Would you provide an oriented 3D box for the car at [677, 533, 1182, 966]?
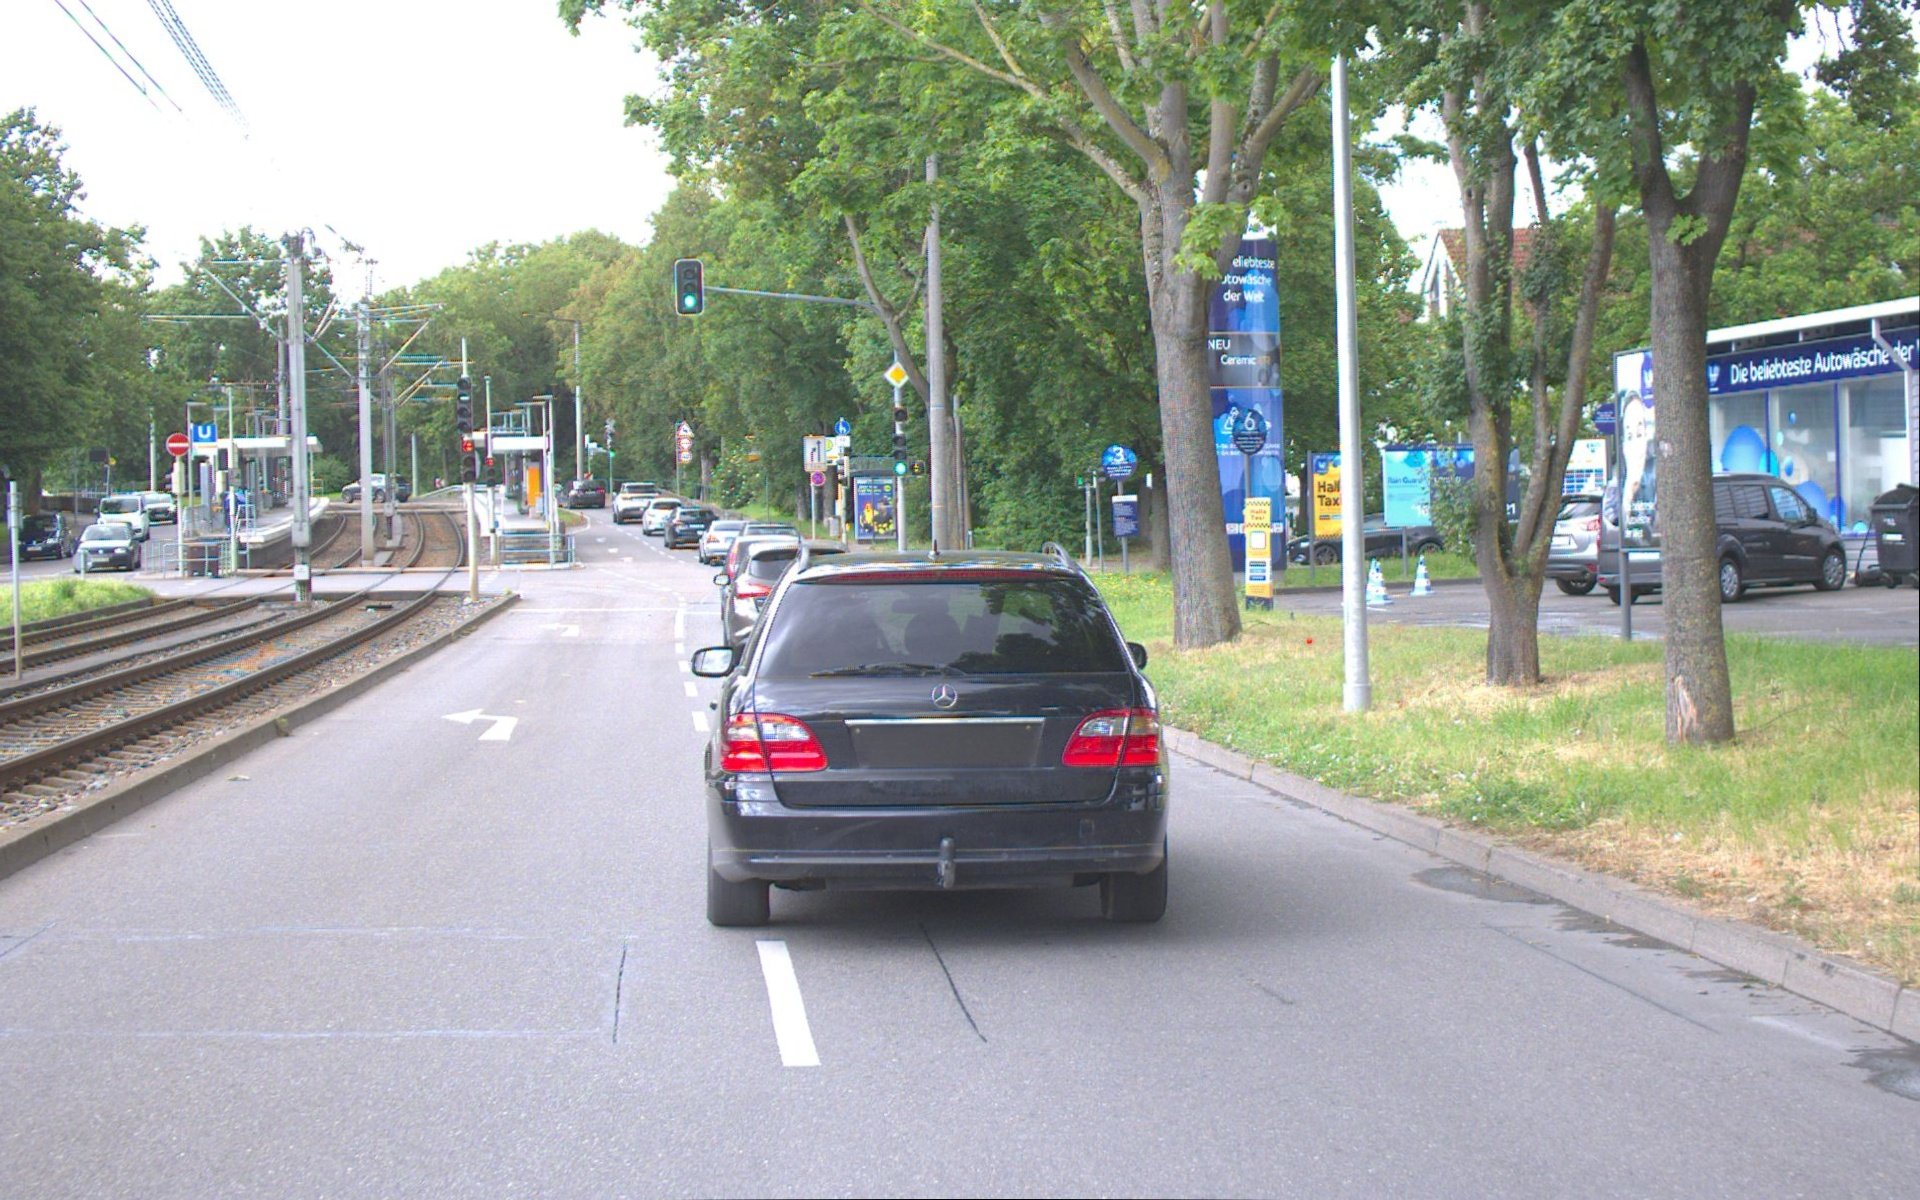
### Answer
[{"bbox_3d":[-0.248,0.505,14.284,1.781,1.520,4.001,1,1,-4],"label":"car"}]

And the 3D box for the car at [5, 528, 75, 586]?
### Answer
[{"bbox_3d":[-32.990,-1.564,123.406,1.993,2.007,4.108,-2,1,-9],"label":"car"}]

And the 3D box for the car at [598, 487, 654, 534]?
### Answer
[{"bbox_3d":[-14.909,-3.979,153.199,1.993,2.007,4.001,1,1,-13],"label":"car"}]

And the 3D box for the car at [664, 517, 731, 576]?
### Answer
[{"bbox_3d":[-9.135,-1.866,119.380,1.993,1.960,4.001,1,1,-9],"label":"car"}]

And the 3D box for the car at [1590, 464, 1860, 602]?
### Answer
[{"bbox_3d":[10.847,-0.971,48.579,1.750,1.815,4.374,-1,2,42],"label":"car"}]

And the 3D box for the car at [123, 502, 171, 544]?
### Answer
[{"bbox_3d":[-40.720,-3.863,172.202,1.993,2.007,4.108,-2,1,-9],"label":"car"}]

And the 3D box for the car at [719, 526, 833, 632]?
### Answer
[{"bbox_3d":[-3.027,-0.367,56.774,1.781,1.642,4.001,1,1,-3],"label":"car"}]

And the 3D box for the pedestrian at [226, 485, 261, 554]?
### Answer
[{"bbox_3d":[-22.778,-2.565,109.307,0.969,2.178,0.976,-1,2,-7],"label":"pedestrian"}]

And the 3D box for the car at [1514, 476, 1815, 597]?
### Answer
[{"bbox_3d":[10.810,-0.992,52.753,4.198,1.691,1.841,-3,2,-23],"label":"car"}]

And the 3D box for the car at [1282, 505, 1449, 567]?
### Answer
[{"bbox_3d":[10.597,-1.664,89.969,4.152,1.520,1.704,-1,1,0],"label":"car"}]

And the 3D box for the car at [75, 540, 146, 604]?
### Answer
[{"bbox_3d":[-25.496,-0.869,103.215,1.696,1.854,4.001,1,1,-9],"label":"car"}]

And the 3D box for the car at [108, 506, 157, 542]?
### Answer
[{"bbox_3d":[-35.603,-3.284,147.992,1.685,1.441,4.001,-3,2,-9],"label":"car"}]

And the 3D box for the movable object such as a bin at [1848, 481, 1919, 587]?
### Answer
[{"bbox_3d":[13.454,-0.948,48.804,1.158,1.469,1.388,-2,1,-9],"label":"movable object such as a bin"}]

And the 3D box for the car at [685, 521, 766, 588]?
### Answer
[{"bbox_3d":[-6.868,-1.326,100.446,1.993,1.886,4.001,1,1,-9],"label":"car"}]

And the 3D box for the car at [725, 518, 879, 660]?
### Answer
[{"bbox_3d":[-1.960,-0.164,42.655,1.781,1.642,4.001,1,1,-3],"label":"car"}]

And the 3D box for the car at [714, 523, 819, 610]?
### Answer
[{"bbox_3d":[-4.459,-0.783,78.802,1.993,1.911,4.001,1,1,-9],"label":"car"}]

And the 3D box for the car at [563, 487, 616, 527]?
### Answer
[{"bbox_3d":[-19.280,-4.815,178.586,1.993,2.007,4.001,1,1,-17],"label":"car"}]

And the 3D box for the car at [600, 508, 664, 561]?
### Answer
[{"bbox_3d":[-13.004,-2.587,136.028,1.993,2.007,4.001,1,1,-13],"label":"car"}]
